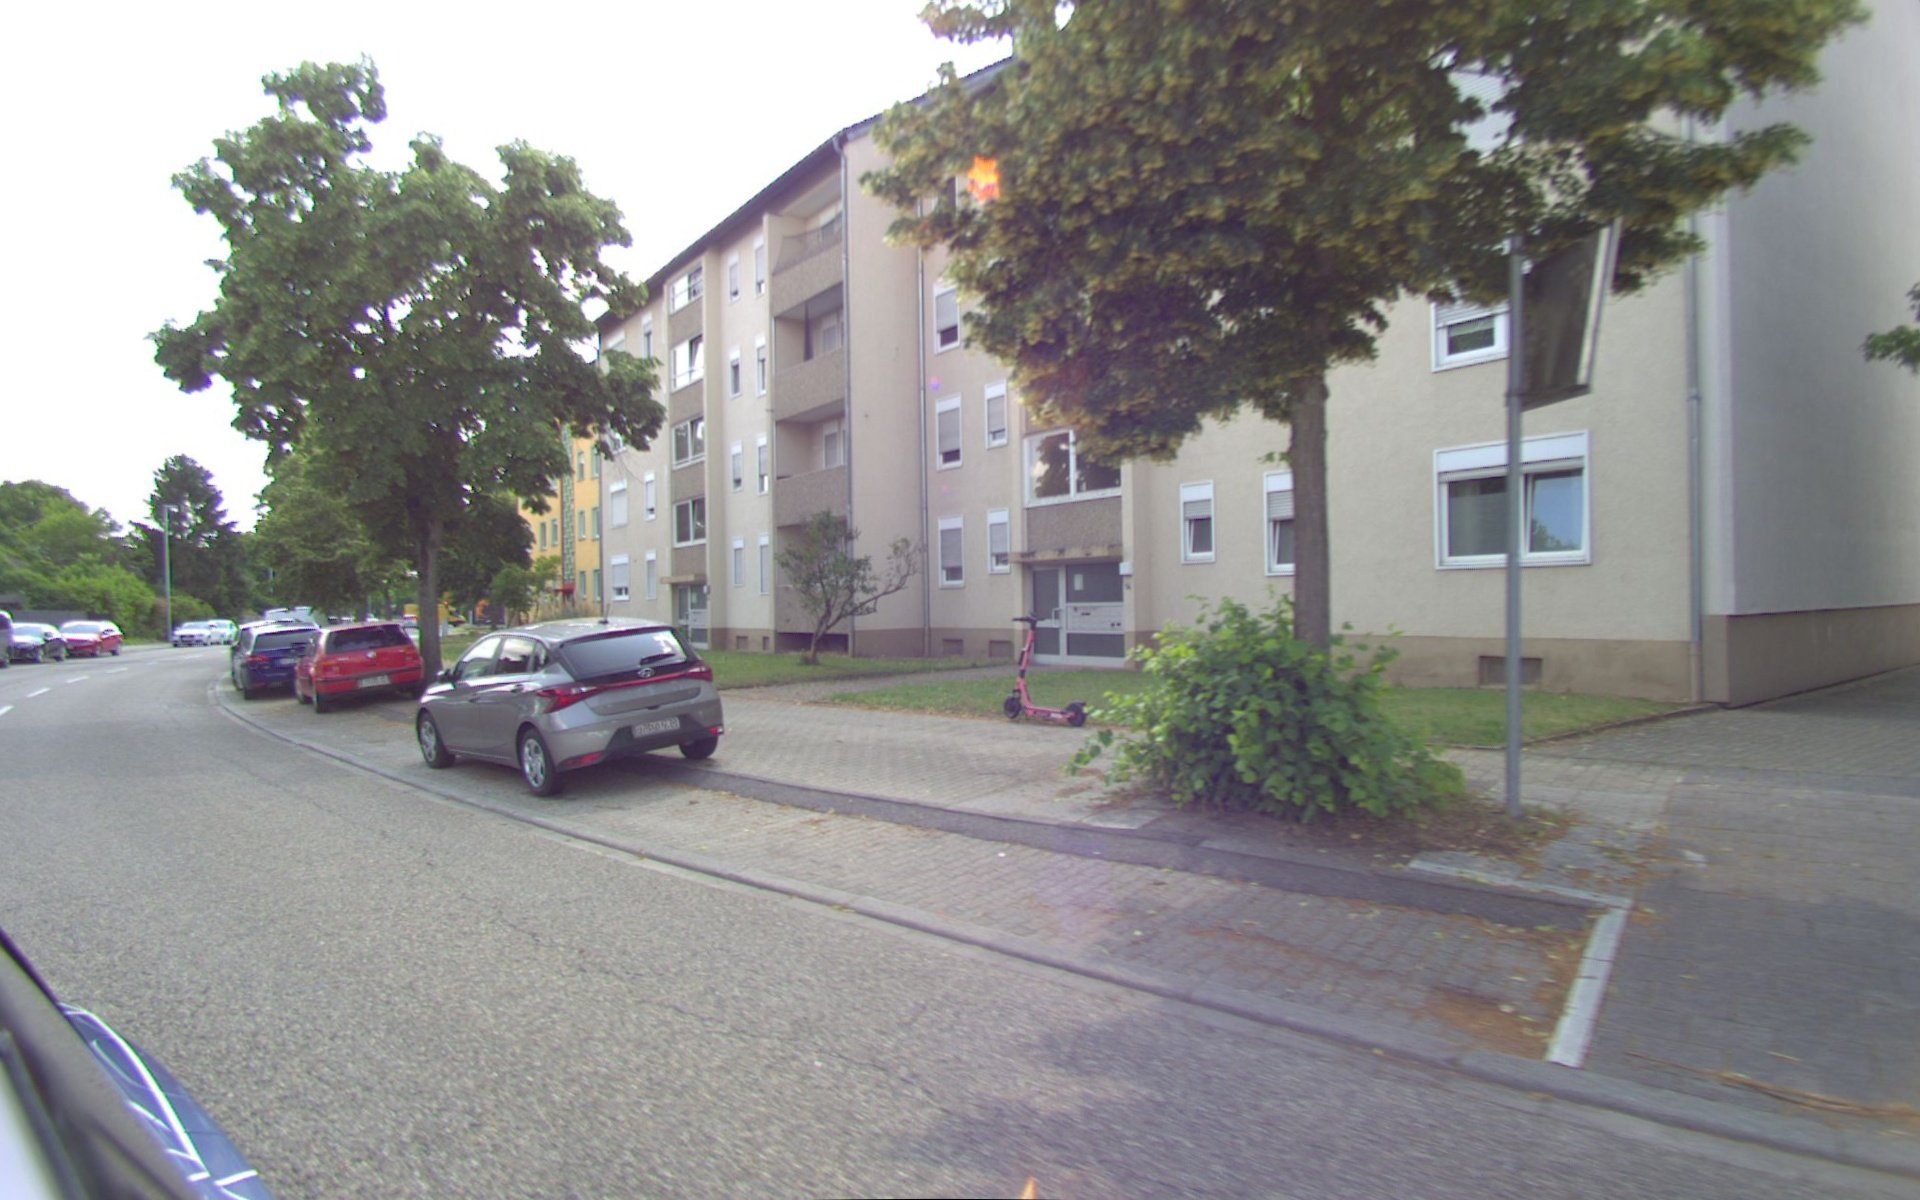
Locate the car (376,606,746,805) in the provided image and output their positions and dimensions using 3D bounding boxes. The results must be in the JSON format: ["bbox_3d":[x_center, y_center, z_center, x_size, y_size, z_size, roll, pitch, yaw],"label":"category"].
[{"bbox_3d":[-4.156,0.891,10.139,4.344,1.500,1.741,-2,1,44],"label":"car"}]

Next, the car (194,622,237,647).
[{"bbox_3d":[-48.365,2.218,65.820,1.559,1.531,3.768,-1,-1,-25],"label":"car"}]

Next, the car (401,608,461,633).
[{"bbox_3d":[-67.268,2.627,128.788,6.416,2.891,2.501,-2,0,-39],"label":"car"}]

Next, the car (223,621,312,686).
[{"bbox_3d":[-18.369,1.348,26.765,1.737,1.500,4.042,-3,0,-37],"label":"car"}]

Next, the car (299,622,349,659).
[{"bbox_3d":[-30.350,1.912,48.401,1.497,1.560,3.767,-6,1,-26],"label":"car"}]

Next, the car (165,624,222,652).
[{"bbox_3d":[-44.526,2.205,58.877,1.697,1.497,3.761,-1,-1,-21],"label":"car"}]

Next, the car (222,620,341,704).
[{"bbox_3d":[-14.916,1.261,22.150,1.738,1.500,4.579,-3,2,-39],"label":"car"}]

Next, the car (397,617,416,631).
[{"bbox_3d":[-60.498,2.608,110.640,1.532,1.528,3.621,-1,0,-25],"label":"car"}]

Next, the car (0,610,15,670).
[{"bbox_3d":[-31.390,1.261,31.375,1.816,1.959,4.891,2,-2,-29],"label":"car"}]

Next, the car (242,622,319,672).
[{"bbox_3d":[-22.866,1.539,34.185,1.736,1.500,4.518,-1,0,-29],"label":"car"}]

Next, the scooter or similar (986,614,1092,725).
[{"bbox_3d":[0.867,0.756,11.311,1.140,1.174,0.414,-2,0,43],"label":"scooter or similar"}]

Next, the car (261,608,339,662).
[{"bbox_3d":[-26.516,1.383,40.812,1.853,2.025,5.339,0,-1,-24],"label":"car"}]

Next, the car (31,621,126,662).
[{"bbox_3d":[-37.424,1.700,43.085,1.823,1.591,4.748,-1,-1,-25],"label":"car"}]

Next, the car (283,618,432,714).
[{"bbox_3d":[-11.073,1.108,18.468,1.813,1.449,4.100,-4,1,-38],"label":"car"}]
